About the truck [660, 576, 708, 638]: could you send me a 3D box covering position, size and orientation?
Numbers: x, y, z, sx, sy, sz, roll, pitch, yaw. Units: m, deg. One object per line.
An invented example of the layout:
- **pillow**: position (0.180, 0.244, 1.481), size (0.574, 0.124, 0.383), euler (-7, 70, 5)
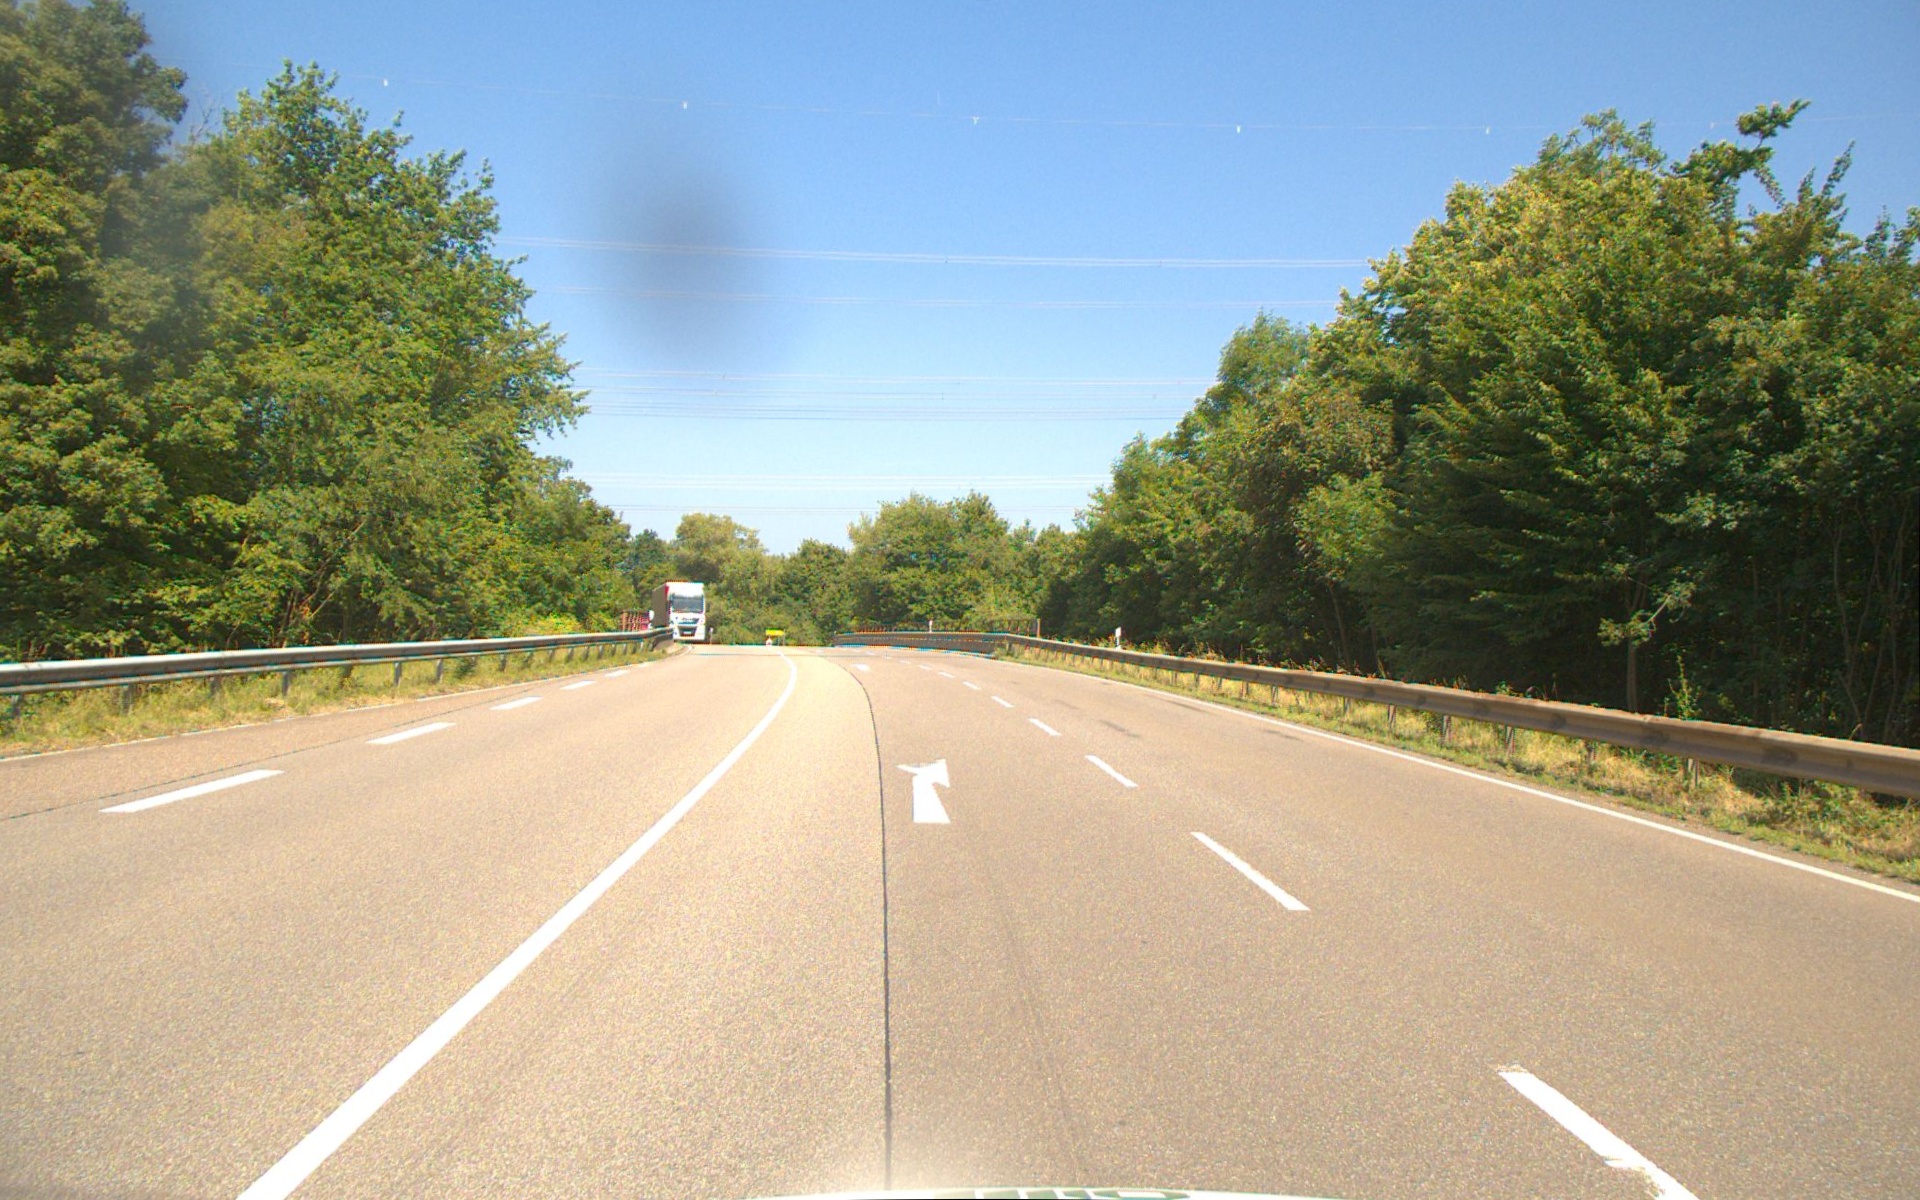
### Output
- **truck**: position (-19.110, 0.536, 114.255), size (2.722, 4.105, 5.832), euler (1, -2, -15)

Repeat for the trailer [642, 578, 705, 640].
- **trailer**: position (-21.041, 0.786, 120.751), size (2.724, 4.134, 14.129), euler (1, -2, -17)
